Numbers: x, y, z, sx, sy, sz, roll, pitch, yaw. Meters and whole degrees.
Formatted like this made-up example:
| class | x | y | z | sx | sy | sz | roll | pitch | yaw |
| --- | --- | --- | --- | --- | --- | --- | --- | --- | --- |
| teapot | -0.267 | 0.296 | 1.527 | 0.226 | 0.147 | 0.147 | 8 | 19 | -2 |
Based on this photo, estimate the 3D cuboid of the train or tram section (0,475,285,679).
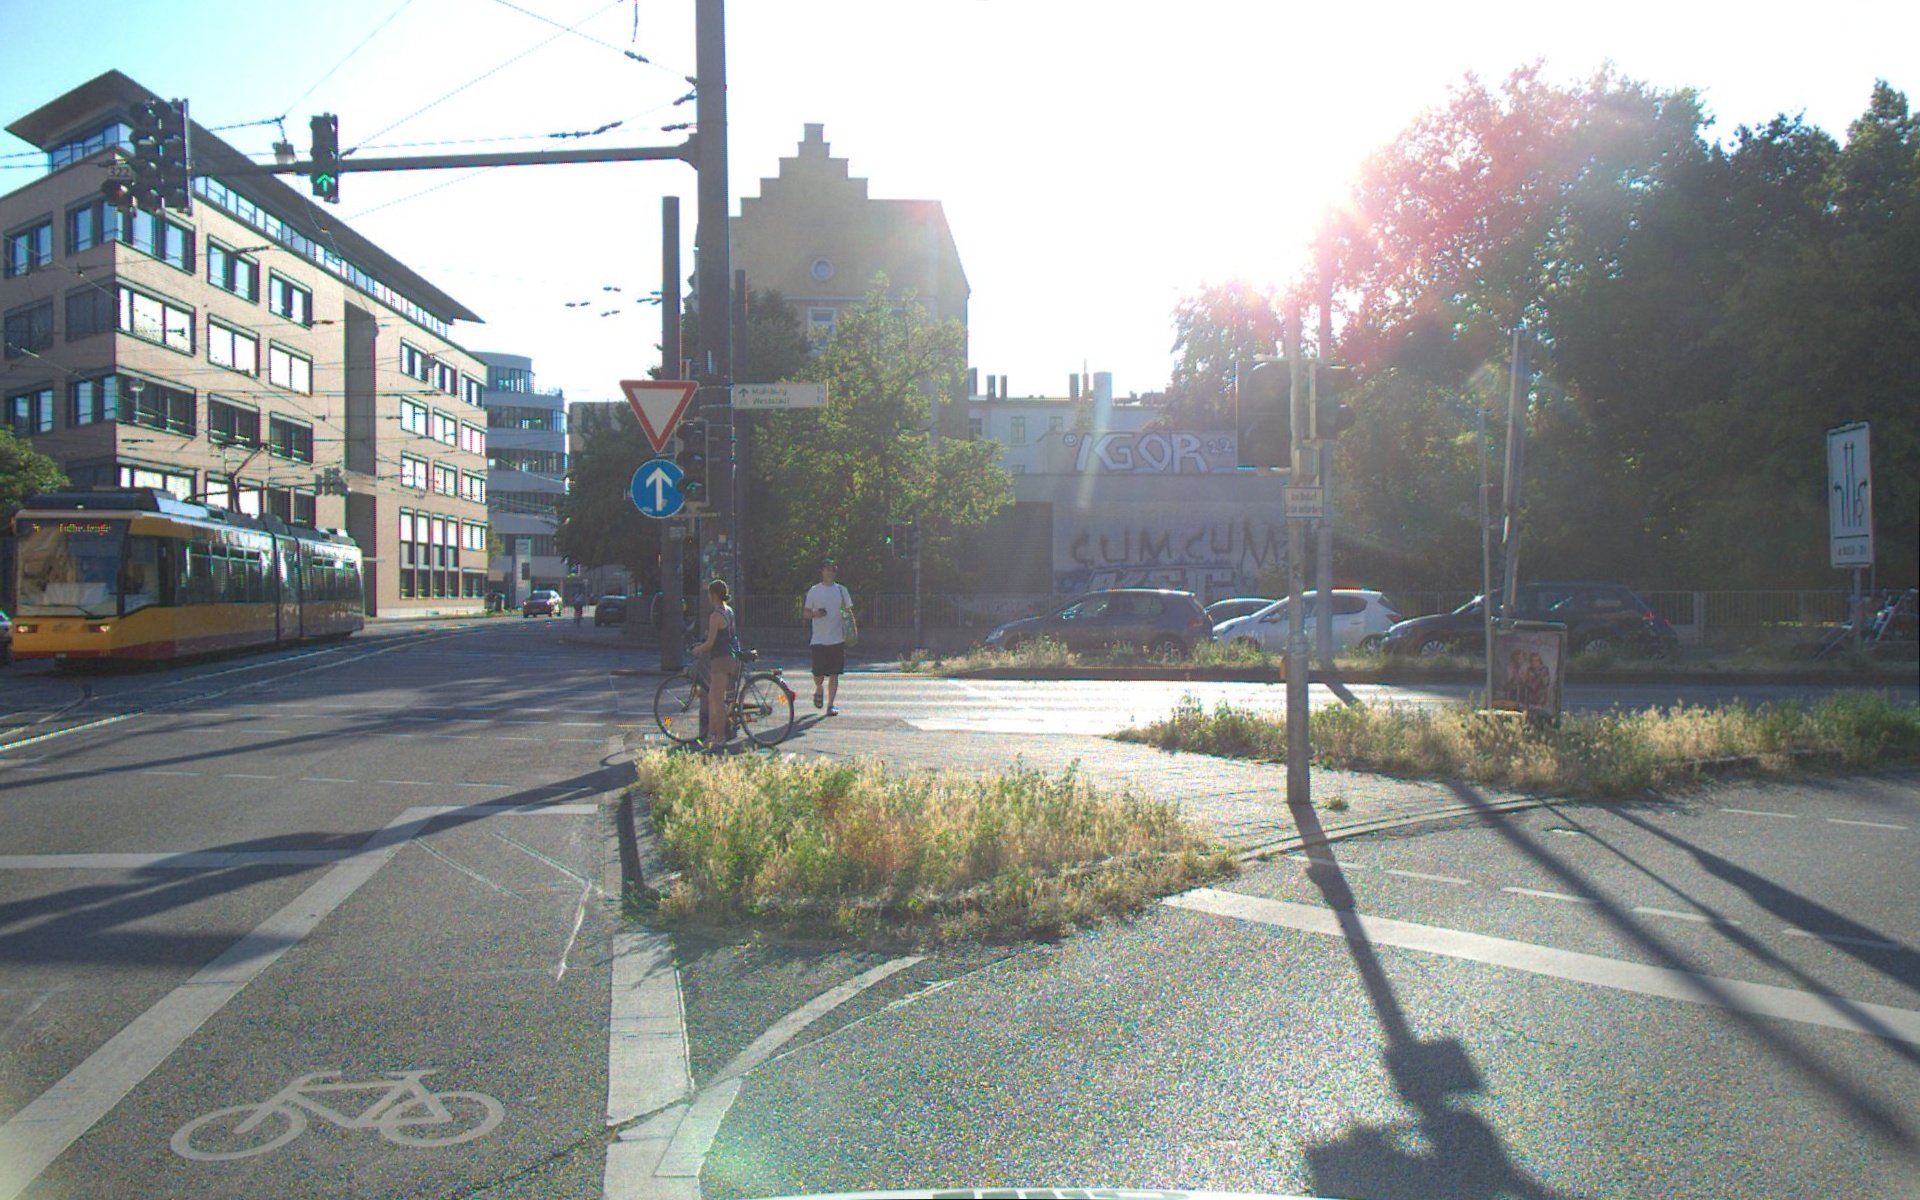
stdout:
| class | x | y | z | sx | sy | sz | roll | pitch | yaw |
| --- | --- | --- | --- | --- | --- | --- | --- | --- | --- |
| train or tram section | -17.262 | -0.409 | 35.531 | 2.810 | 3.569 | 12.975 | 0 | 0 | -12 |

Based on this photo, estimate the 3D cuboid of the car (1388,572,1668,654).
| class | x | y | z | sx | sy | sz | roll | pitch | yaw |
| --- | --- | --- | --- | --- | --- | --- | --- | --- | --- |
| car | 9.450 | 0.224 | 27.840 | 4.269 | 1.319 | 1.726 | 0 | 0 | 12 |

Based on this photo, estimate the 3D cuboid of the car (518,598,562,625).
| class | x | y | z | sx | sy | sz | roll | pitch | yaw |
| --- | --- | --- | --- | --- | --- | --- | --- | --- | --- |
| car | -26.904 | 0.711 | 106.101 | 1.779 | 1.643 | 4.463 | -1 | 0 | -2 |

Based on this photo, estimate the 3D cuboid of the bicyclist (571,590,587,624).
| class | x | y | z | sx | sy | sz | roll | pitch | yaw |
| --- | --- | --- | --- | --- | --- | --- | --- | --- | --- |
| bicyclist | -17.357 | 0.309 | 75.353 | 0.661 | 1.549 | 0.812 | 0 | 0 | -8 |

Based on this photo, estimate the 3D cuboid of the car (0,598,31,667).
| class | x | y | z | sx | sy | sz | roll | pitch | yaw |
| --- | --- | --- | --- | --- | --- | --- | --- | --- | --- |
| car | -20.426 | 0.670 | 33.302 | 1.777 | 1.404 | 4.151 | -1 | 0 | -11 |

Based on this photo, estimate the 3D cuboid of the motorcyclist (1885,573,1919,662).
| class | x | y | z | sx | sy | sz | roll | pitch | yaw |
| --- | --- | --- | --- | --- | --- | --- | --- | --- | --- |
| motorcyclist | 15.655 | 0.274 | 26.719 | 1.035 | 1.422 | 0.855 | 0 | 0 | 12 |

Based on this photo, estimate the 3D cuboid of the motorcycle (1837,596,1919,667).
| class | x | y | z | sx | sy | sz | roll | pitch | yaw |
| --- | --- | --- | --- | --- | --- | --- | --- | --- | --- |
| motorcycle | 15.601 | 0.499 | 26.700 | 2.409 | 1.127 | 0.862 | 0 | 0 | 12 |

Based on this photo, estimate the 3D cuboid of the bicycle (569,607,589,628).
| class | x | y | z | sx | sy | sz | roll | pitch | yaw |
| --- | --- | --- | --- | --- | --- | --- | --- | --- | --- |
| bicycle | -17.333 | 0.787 | 75.271 | 0.681 | 0.892 | 2.024 | 0 | 0 | -7 |

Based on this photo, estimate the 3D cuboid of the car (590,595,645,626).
| class | x | y | z | sx | sy | sz | roll | pitch | yaw |
| --- | --- | --- | --- | --- | --- | --- | --- | --- | --- |
| car | -16.263 | 0.485 | 78.674 | 1.748 | 1.412 | 4.000 | 0 | 0 | 0 |

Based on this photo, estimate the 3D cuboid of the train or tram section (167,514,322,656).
| class | x | y | z | sx | sy | sz | roll | pitch | yaw |
| --- | --- | --- | --- | --- | --- | --- | --- | --- | --- |
| train or tram section | -19.095 | -0.395 | 44.465 | 2.810 | 3.569 | 5.287 | 0 | 0 | -12 |

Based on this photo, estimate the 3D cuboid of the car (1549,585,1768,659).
| class | x | y | z | sx | sy | sz | roll | pitch | yaw |
| --- | --- | --- | --- | --- | --- | --- | --- | --- | --- |
| car | 14.744 | 0.448 | 35.082 | 3.902 | 1.489 | 1.861 | 0 | 1 | 6 |

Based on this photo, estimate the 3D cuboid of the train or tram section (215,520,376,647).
| class | x | y | z | sx | sy | sz | roll | pitch | yaw |
| --- | --- | --- | --- | --- | --- | --- | --- | --- | --- |
| train or tram section | -20.816 | -0.474 | 52.510 | 2.810 | 3.569 | 11.262 | 0 | 0 | -12 |

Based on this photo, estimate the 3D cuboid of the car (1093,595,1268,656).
| class | x | y | z | sx | sy | sz | roll | pitch | yaw |
| --- | --- | --- | --- | --- | --- | --- | --- | --- | --- |
| car | 4.972 | 0.555 | 37.074 | 3.798 | 1.319 | 1.726 | 0 | 0 | 10 |

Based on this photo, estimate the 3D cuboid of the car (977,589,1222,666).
| class | x | y | z | sx | sy | sz | roll | pitch | yaw |
| --- | --- | --- | --- | --- | --- | --- | --- | --- | --- |
| car | 2.522 | 0.477 | 29.625 | 4.144 | 1.319 | 1.726 | 0 | 0 | 14 |

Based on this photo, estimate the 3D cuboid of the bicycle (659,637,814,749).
| class | x | y | z | sx | sy | sz | roll | pitch | yaw |
| --- | --- | --- | --- | --- | --- | --- | --- | --- | --- |
| bicycle | -2.231 | 0.902 | 16.403 | 1.636 | 1.047 | 0.398 | -1 | 0 | 32 |

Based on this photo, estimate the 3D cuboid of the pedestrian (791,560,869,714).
| class | x | y | z | sx | sy | sz | roll | pitch | yaw |
| --- | --- | --- | --- | --- | --- | --- | --- | --- | --- |
| pedestrian | -1.592 | 0.436 | 20.146 | 0.892 | 1.820 | 0.826 | 0 | 0 | -9 |

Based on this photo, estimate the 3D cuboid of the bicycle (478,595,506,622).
| class | x | y | z | sx | sy | sz | roll | pitch | yaw |
| --- | --- | --- | --- | --- | --- | --- | --- | --- | --- |
| bicycle | -29.688 | 0.532 | 104.935 | 1.009 | 1.680 | 2.560 | 0 | 0 | 1 |

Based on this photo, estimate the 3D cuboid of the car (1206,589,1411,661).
| class | x | y | z | sx | sy | sz | roll | pitch | yaw |
| --- | --- | --- | --- | --- | --- | --- | --- | --- | --- |
| car | 6.754 | 0.474 | 32.288 | 3.798 | 1.342 | 1.726 | 0 | 0 | 10 |

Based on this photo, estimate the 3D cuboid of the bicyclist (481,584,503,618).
| class | x | y | z | sx | sy | sz | roll | pitch | yaw |
| --- | --- | --- | --- | --- | --- | --- | --- | --- | --- |
| bicyclist | -29.686 | 0.070 | 104.979 | 1.008 | 2.049 | 1.247 | 1 | -1 | 0 |

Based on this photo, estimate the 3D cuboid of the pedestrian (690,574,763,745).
| class | x | y | z | sx | sy | sz | roll | pitch | yaw |
| --- | --- | --- | --- | --- | --- | --- | --- | --- | --- |
| pedestrian | -2.314 | 0.579 | 16.387 | 0.514 | 1.660 | 0.488 | -1 | 0 | 31 |
